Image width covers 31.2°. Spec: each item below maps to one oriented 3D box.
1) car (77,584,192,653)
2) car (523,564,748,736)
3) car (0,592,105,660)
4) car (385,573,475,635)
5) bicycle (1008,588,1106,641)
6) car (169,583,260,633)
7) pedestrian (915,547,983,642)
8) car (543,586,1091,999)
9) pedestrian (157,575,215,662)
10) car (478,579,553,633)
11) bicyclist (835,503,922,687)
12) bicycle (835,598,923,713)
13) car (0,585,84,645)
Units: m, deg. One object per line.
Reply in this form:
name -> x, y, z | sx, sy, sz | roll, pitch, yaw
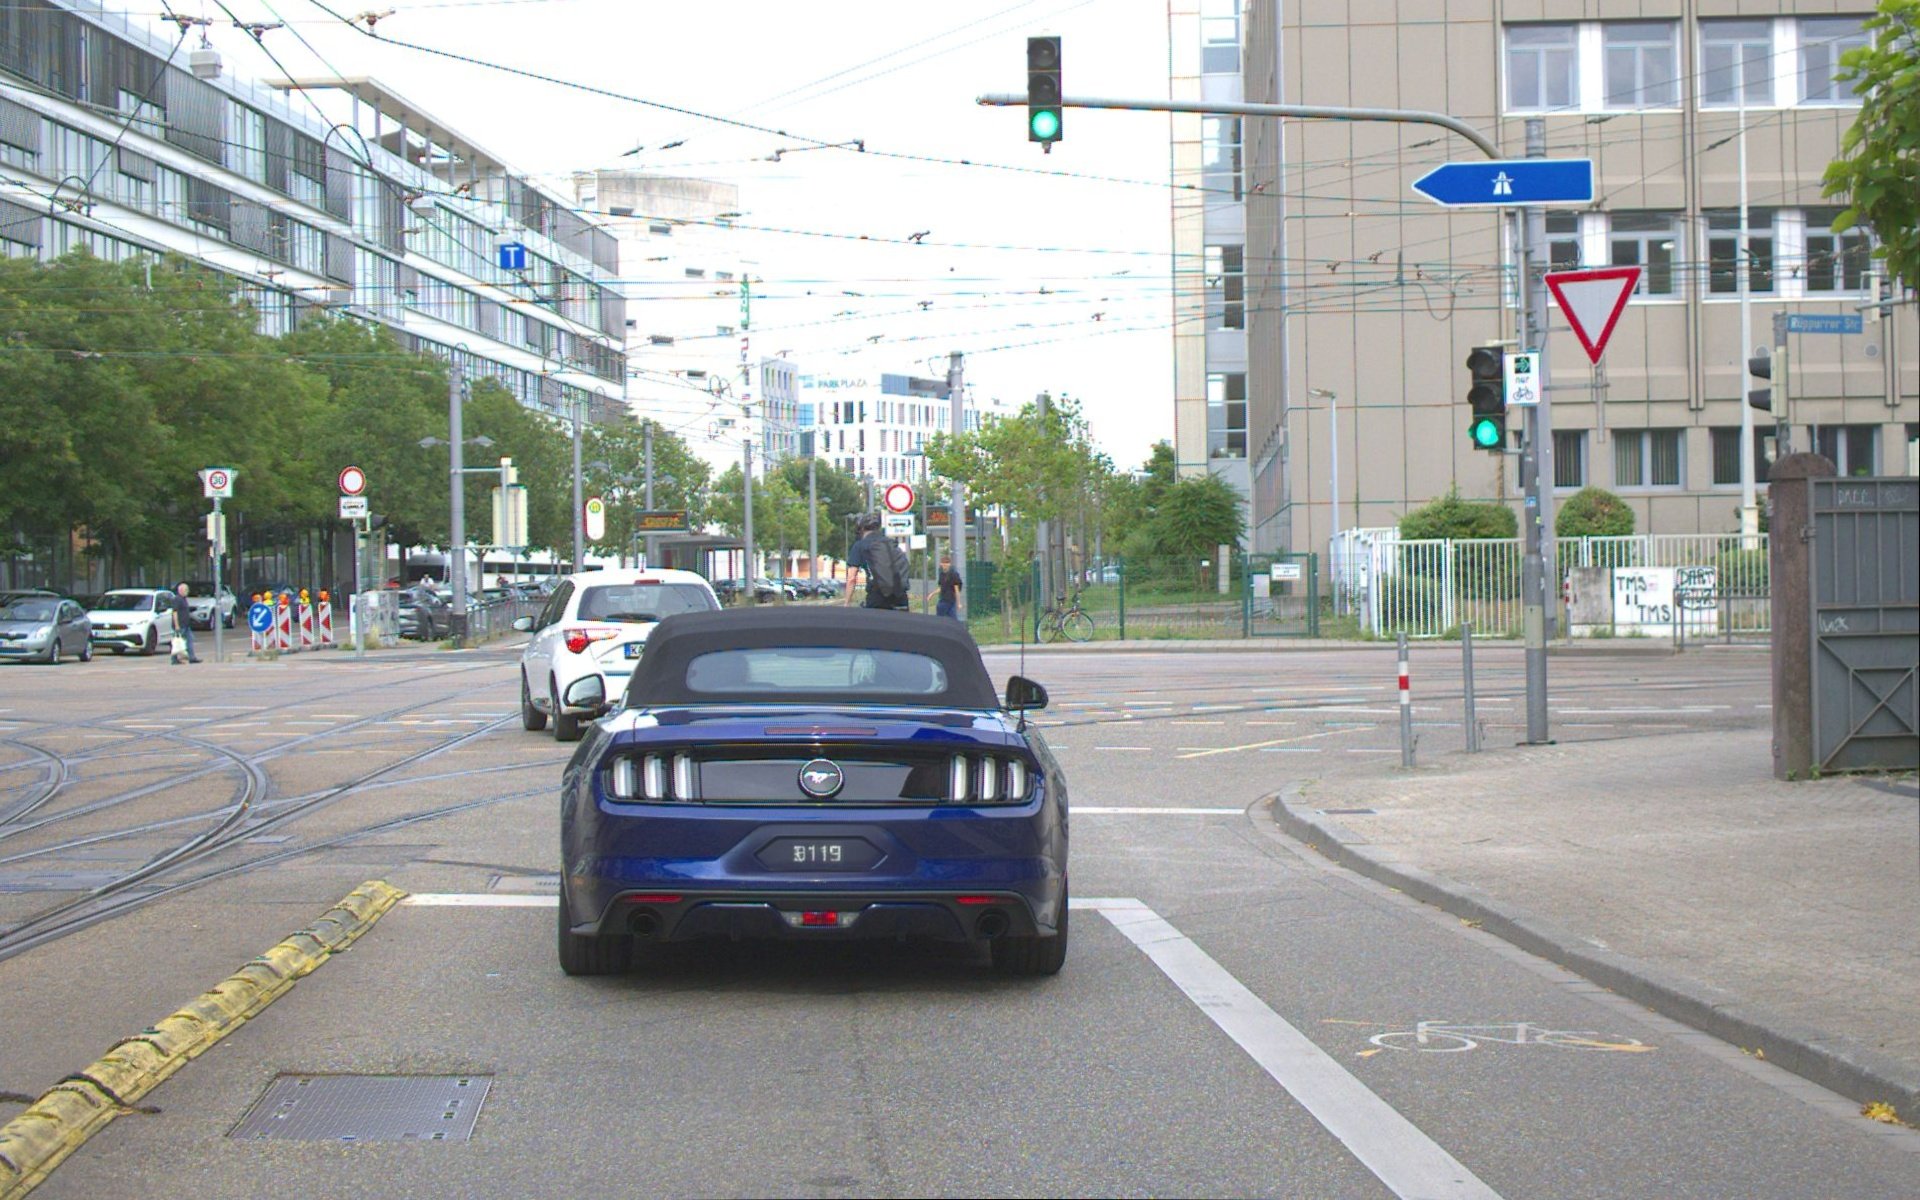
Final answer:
car -> -20.934, 0.446, 87.308 | 1.715, 1.654, 4.132 | 1, 1, 3
car -> -3.033, 0.416, 31.473 | 1.835, 1.434, 4.188 | -1, 0, -8
car -> -21.318, 0.583, 79.857 | 1.668, 1.501, 4.234 | 1, 1, 3
car -> -14.487, 0.100, 94.198 | 1.879, 1.623, 4.087 | -1, 0, -1
bicycle -> 1.962, 0.299, 69.898 | 0.632, 0.977, 2.157 | -1, -2, -42
car -> -24.527, 0.248, 113.219 | 1.986, 1.551, 4.512 | 1, 1, 0
pedestrian -> -0.224, -0.113, 69.969 | 1.087, 1.892, 0.901 | -1, 0, 22
car -> -0.606, 0.658, 13.972 | 1.876, 1.399, 4.282 | 0, 0, -3
pedestrian -> -16.612, 0.393, 73.793 | 0.989, 1.849, 0.902 | -1, 0, 2
car -> -13.908, 0.177, 107.739 | 1.868, 1.600, 4.213 | -1, 0, -1
bicyclist -> -0.815, -0.057, 34.090 | 0.796, 1.779, 1.233 | -1, 0, -3
bicycle -> -0.815, 0.532, 34.058 | 0.800, 1.083, 2.132 | -1, 0, -3
car -> -25.682, 0.401, 94.713 | 1.830, 1.551, 4.216 | 1, 1, 3
